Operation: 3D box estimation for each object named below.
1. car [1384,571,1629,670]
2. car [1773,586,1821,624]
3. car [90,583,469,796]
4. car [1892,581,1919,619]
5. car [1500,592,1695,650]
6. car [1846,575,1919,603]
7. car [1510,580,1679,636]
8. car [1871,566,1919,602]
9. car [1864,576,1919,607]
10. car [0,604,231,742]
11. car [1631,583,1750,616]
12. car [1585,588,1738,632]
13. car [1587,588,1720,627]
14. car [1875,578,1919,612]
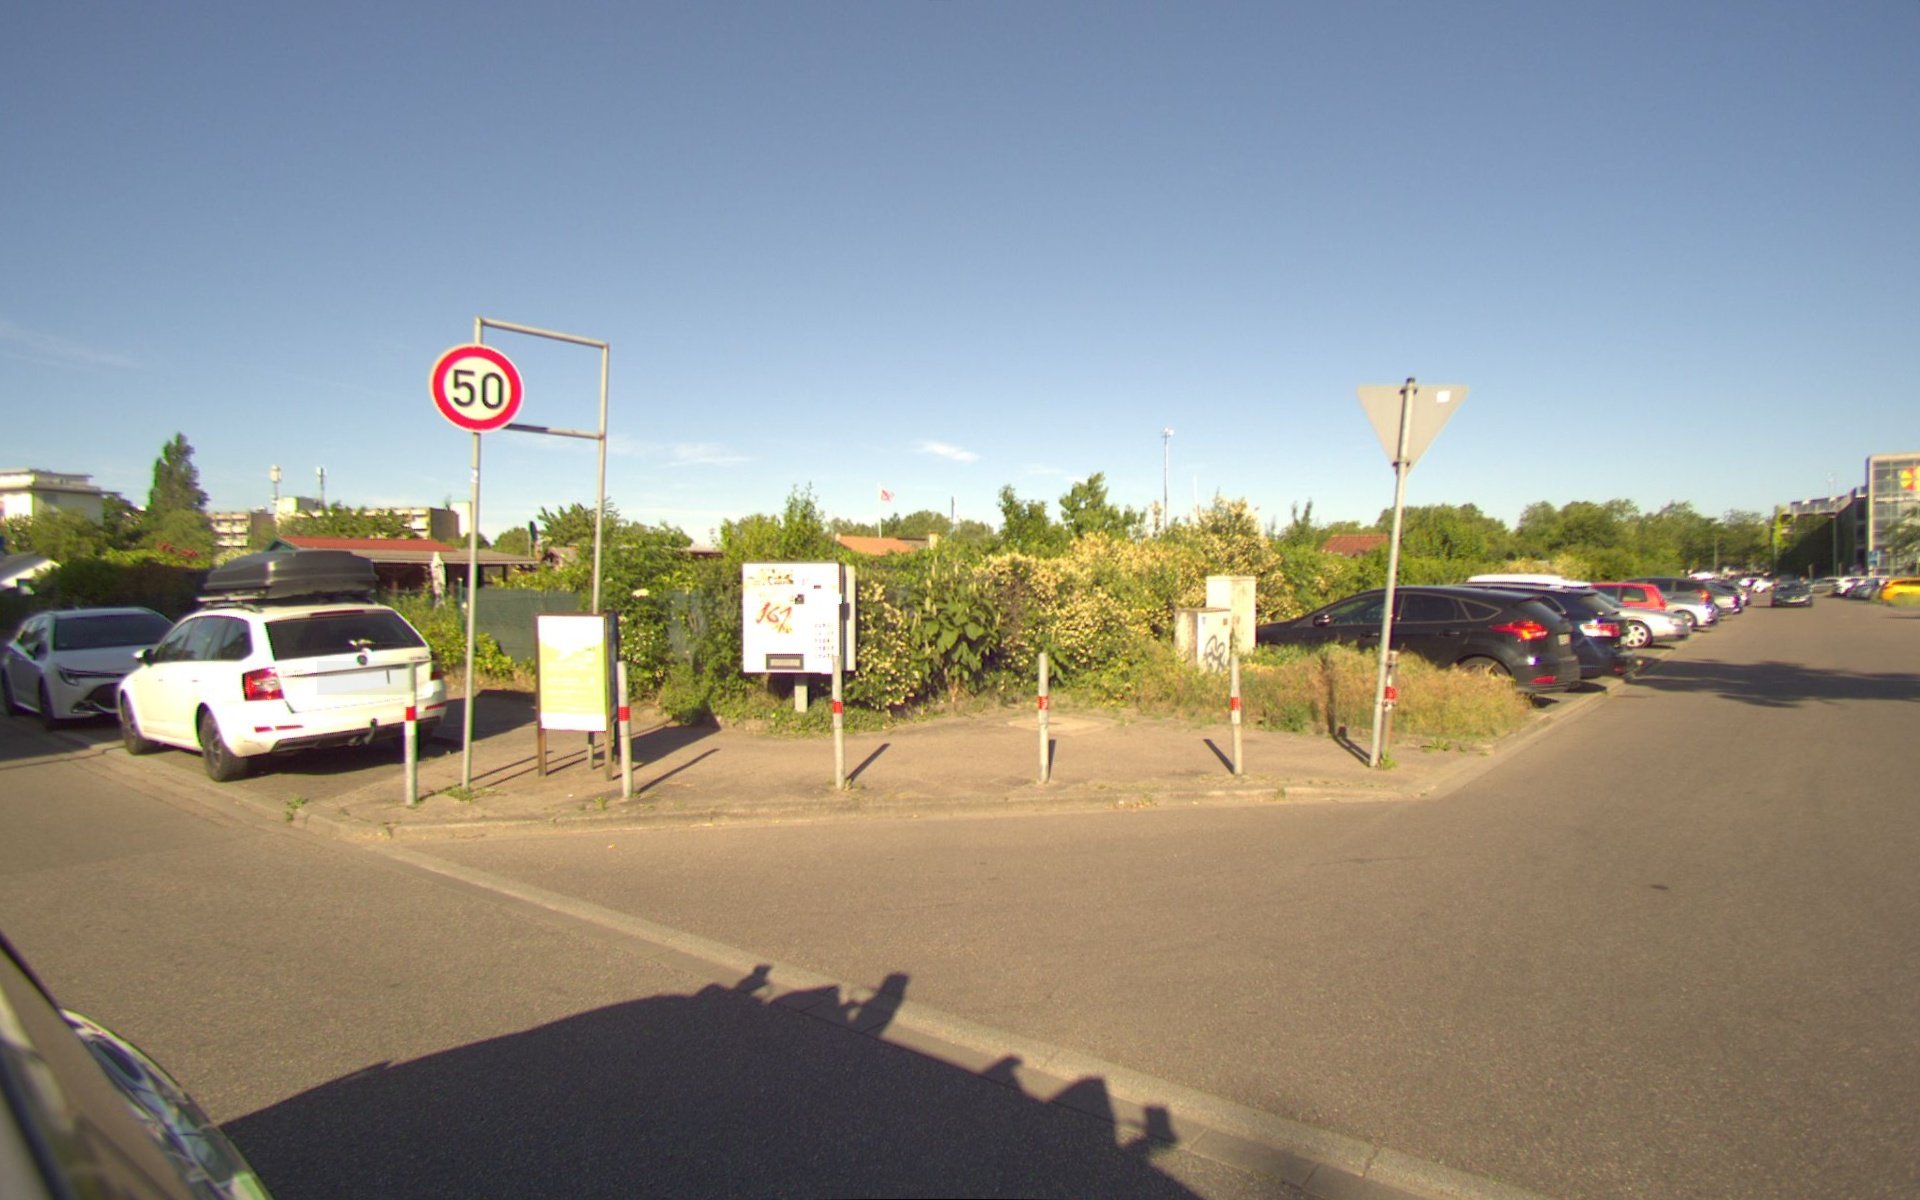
[{"bbox_3d":[10.349,0.361,19.340,3.848,1.707,1.489,-1,0,45],"label":"car"},{"bbox_3d":[46.888,0.254,56.732,1.998,2.029,3.948,-1,0,39],"label":"car"},{"bbox_3d":[-6.654,0.700,9.692,4.511,1.524,1.680,-1,3,39],"label":"car"},{"bbox_3d":[51.148,-0.020,52.291,4.394,1.954,1.971,-1,1,44],"label":"car"},{"bbox_3d":[15.171,0.491,24.186,3.840,1.273,1.491,0,-2,38],"label":"car"},{"bbox_3d":[69.672,-0.808,76.449,3.996,2.029,1.974,-1,0,39],"label":"car"},{"bbox_3d":[18.020,0.208,28.858,3.848,1.496,1.489,-1,0,45],"label":"car"},{"bbox_3d":[55.611,-0.931,58.390,4.389,2.029,1.974,-1,0,39],"label":"car"},{"bbox_3d":[62.455,-0.552,66.813,3.996,2.029,1.974,-1,0,39],"label":"car"},{"bbox_3d":[-11.662,0.856,13.705,4.536,1.456,1.730,0,4,39],"label":"car"},{"bbox_3d":[29.498,0.000,40.945,3.840,1.273,1.491,0,-2,38],"label":"car"},{"bbox_3d":[21.852,0.304,31.598,3.840,1.273,1.492,-1,0,38],"label":"car"},{"bbox_3d":[24.546,0.272,35.889,3.840,1.273,1.491,0,-2,38],"label":"car"},{"bbox_3d":[58.221,-0.292,61.279,3.996,2.029,1.974,-1,0,39],"label":"car"}]
